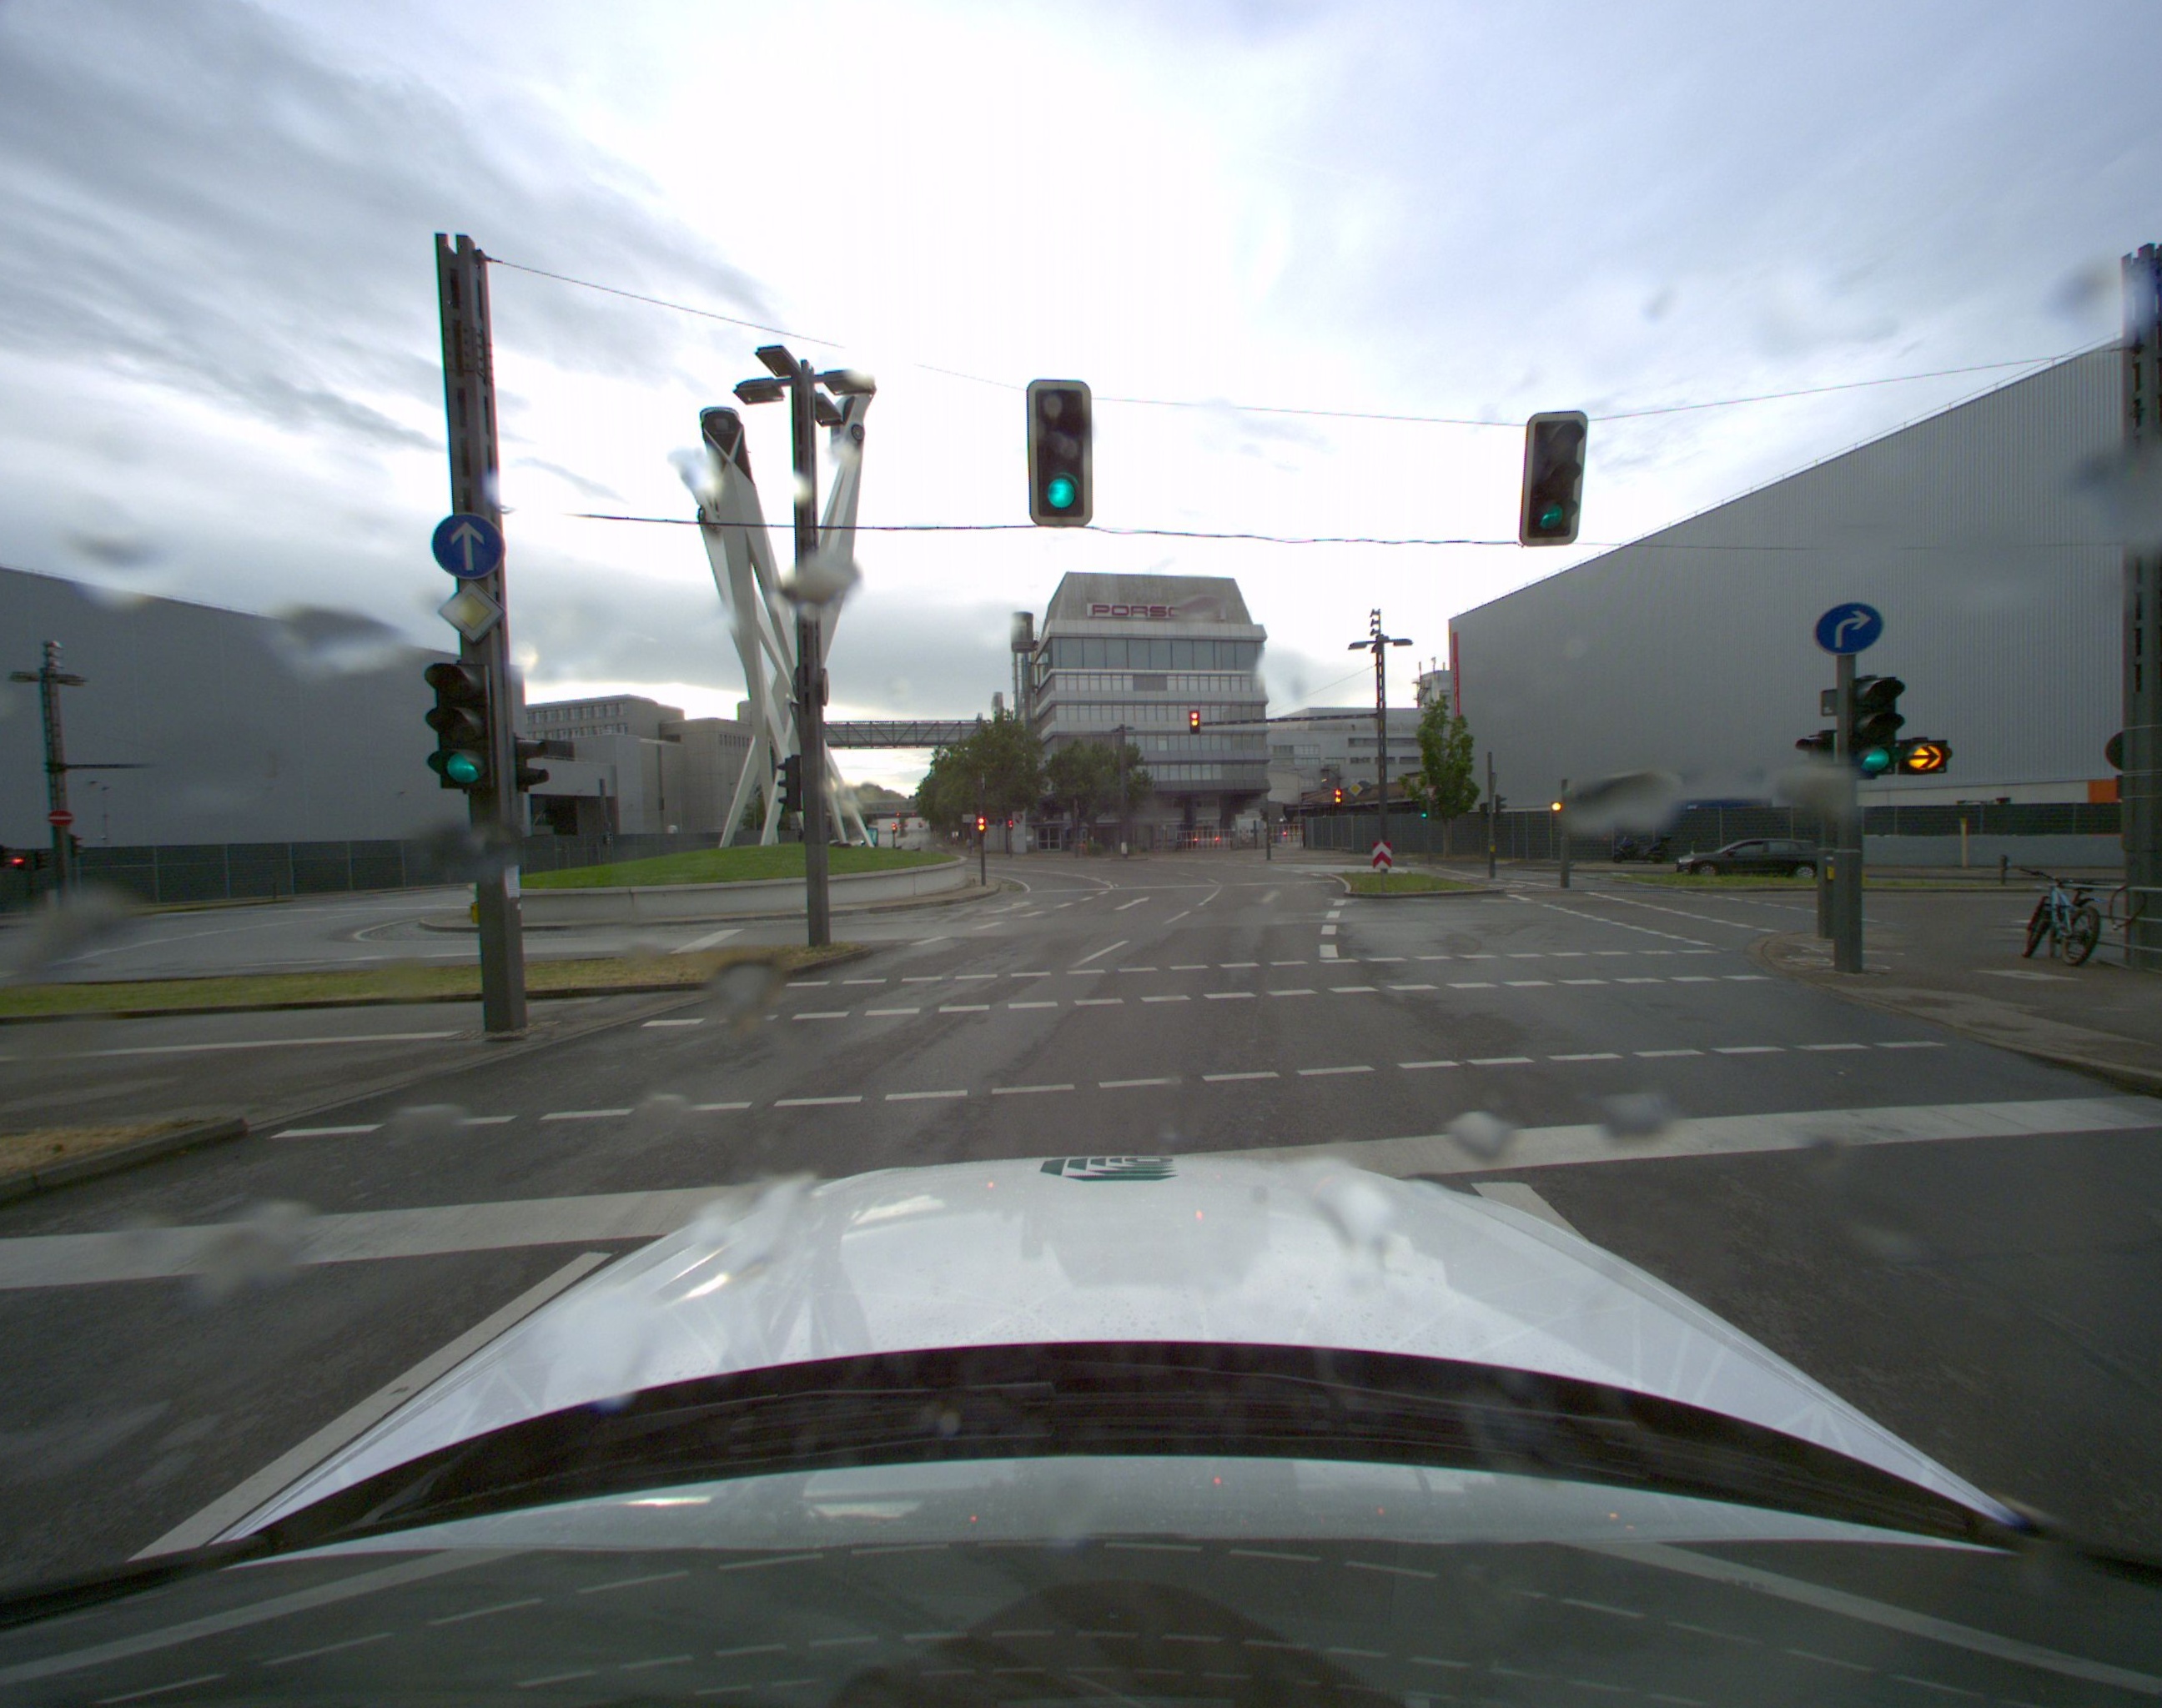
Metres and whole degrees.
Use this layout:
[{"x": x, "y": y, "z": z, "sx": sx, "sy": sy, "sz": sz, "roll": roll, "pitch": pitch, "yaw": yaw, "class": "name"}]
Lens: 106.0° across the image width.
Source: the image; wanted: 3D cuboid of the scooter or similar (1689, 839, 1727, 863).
[{"x": 27.579, "y": -0.133, "z": 35.846, "sx": 0.387, "sy": 1.028, "sz": 1.258, "roll": -1, "pitch": 2, "yaw": -29, "class": "scooter or similar"}]

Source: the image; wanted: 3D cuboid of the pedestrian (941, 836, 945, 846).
[{"x": -28.254, "y": -2.752, "z": 166.781, "sx": 0.761, "sy": 2.013, "sz": 0.693, "roll": -1, "pitch": 0, "yaw": 5, "class": "pedestrian"}]

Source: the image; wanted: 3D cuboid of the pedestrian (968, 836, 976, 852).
[{"x": -10.931, "y": -1.004, "z": 81.841, "sx": 0.708, "sy": 1.591, "sz": 0.839, "roll": -2, "pitch": 2, "yaw": -7, "class": "pedestrian"}]

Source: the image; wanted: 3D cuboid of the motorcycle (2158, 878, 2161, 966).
[{"x": 15.096, "y": 0.879, "z": 10.230, "sx": 2.074, "sy": 1.145, "sz": 0.490, "roll": 0, "pitch": -1, "yaw": 11, "class": "motorcycle"}]

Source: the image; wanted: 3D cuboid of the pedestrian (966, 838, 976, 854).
[{"x": -10.863, "y": -0.777, "z": 80.324, "sx": 0.829, "sy": 1.520, "sz": 0.841, "roll": -2, "pitch": 2, "yaw": -3, "class": "pedestrian"}]

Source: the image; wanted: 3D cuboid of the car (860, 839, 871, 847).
[{"x": -39.636, "y": -2.001, "z": 149.856, "sx": 1.787, "sy": 1.439, "sz": 4.371, "roll": -2, "pitch": 2, "yaw": -17, "class": "car"}]

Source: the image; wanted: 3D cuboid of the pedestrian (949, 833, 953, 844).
[{"x": -20.602, "y": -2.421, "z": 128.990, "sx": 0.712, "sy": 1.740, "sz": 0.757, "roll": 0, "pitch": -1, "yaw": -12, "class": "pedestrian"}]

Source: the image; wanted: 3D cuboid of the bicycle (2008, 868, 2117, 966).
[{"x": 12.567, "y": 0.754, "z": 10.477, "sx": 0.416, "sy": 1.130, "sz": 2.086, "roll": -1, "pitch": -1, "yaw": 37, "class": "bicycle"}]

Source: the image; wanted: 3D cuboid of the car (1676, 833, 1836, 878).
[{"x": 22.794, "y": 0.033, "z": 27.706, "sx": 3.949, "sy": 1.425, "sz": 1.732, "roll": 0, "pitch": 1, "yaw": 31, "class": "car"}]

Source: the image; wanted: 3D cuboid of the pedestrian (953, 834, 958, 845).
[{"x": -20.178, "y": -2.399, "z": 130.980, "sx": 0.757, "sy": 1.740, "sz": 0.712, "roll": 0, "pitch": -1, "yaw": -8, "class": "pedestrian"}]

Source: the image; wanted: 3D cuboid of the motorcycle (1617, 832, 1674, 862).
[{"x": 25.561, "y": -0.313, "z": 36.918, "sx": 2.074, "sy": 1.310, "sz": 0.659, "roll": 0, "pitch": 2, "yaw": 27, "class": "motorcycle"}]
